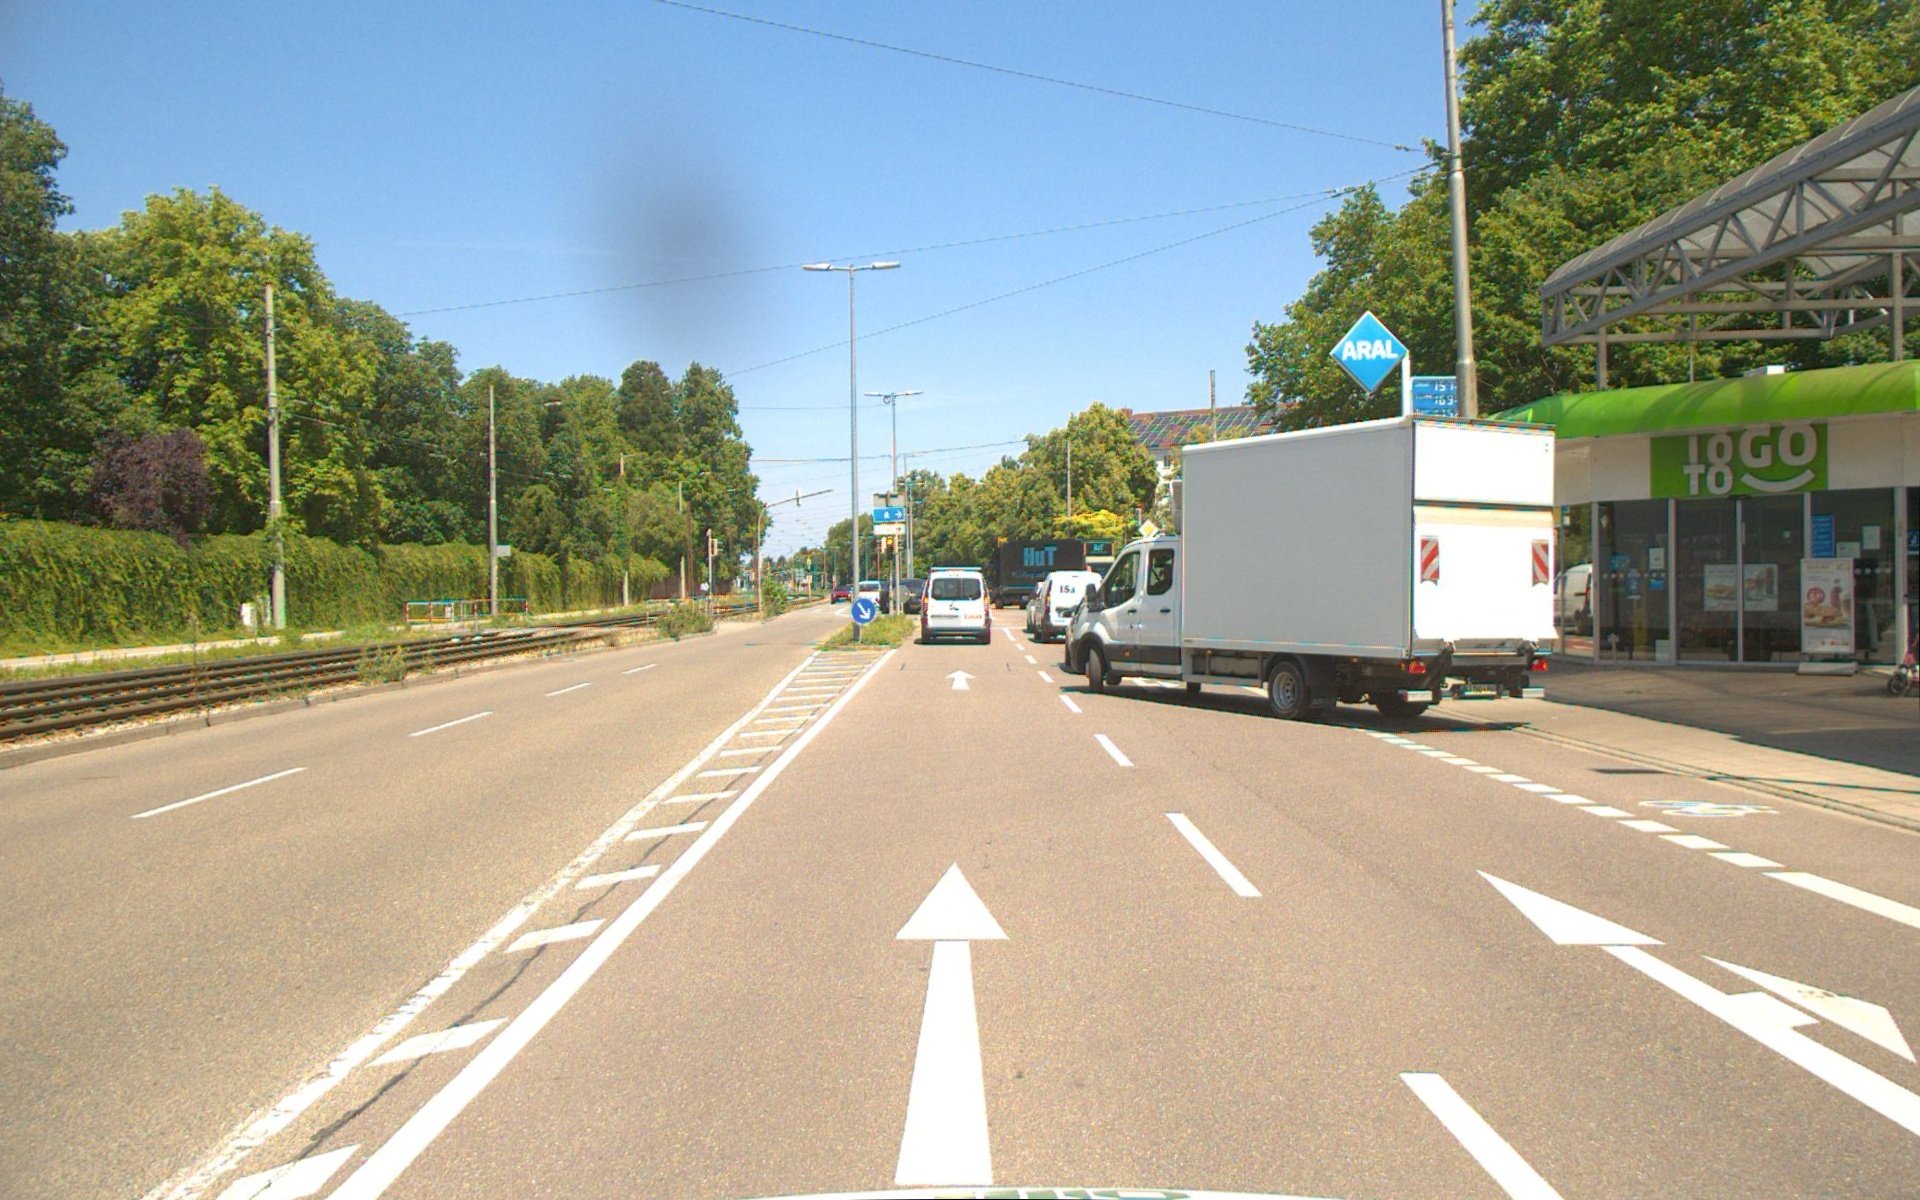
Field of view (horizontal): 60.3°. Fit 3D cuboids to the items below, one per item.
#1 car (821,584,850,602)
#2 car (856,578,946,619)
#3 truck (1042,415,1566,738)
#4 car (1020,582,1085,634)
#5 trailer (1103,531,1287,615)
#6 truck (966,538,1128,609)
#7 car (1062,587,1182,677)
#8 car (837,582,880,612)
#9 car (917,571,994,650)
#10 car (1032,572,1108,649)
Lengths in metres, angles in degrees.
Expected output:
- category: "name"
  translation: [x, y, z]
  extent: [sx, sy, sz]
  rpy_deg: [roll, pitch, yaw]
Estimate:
- category: "car"
  translation: [-10.187, -0.607, 135.767]
  extent: [1.943, 1.382, 4.539]
  rpy_deg: [-1, 1, 1]
- category: "car"
  translation: [-2.868, -0.072, 79.212]
  extent: [1.981, 1.861, 4.474]
  rpy_deg: [-1, 1, -40]
- category: "truck"
  translation: [4.056, -0.277, 21.699]
  extent: [2.391, 3.450, 7.763]
  rpy_deg: [-1, 0, -27]
- category: "car"
  translation: [2.800, 0.218, 50.832]
  extent: [1.720, 1.512, 4.000]
  rpy_deg: [-1, 1, -1]
- category: "trailer"
  translation: [12.169, -1.361, 85.894]
  extent: [8.773, 4.121, 3.536]
  rpy_deg: [-1, 0, 27]
- category: "truck"
  translation: [4.715, -1.423, 90.986]
  extent: [8.652, 3.696, 3.566]
  rpy_deg: [0, 1, 42]
- category: "car"
  translation: [2.848, 0.515, 29.871]
  extent: [1.758, 1.475, 4.418]
  rpy_deg: [-1, 1, 1]
- category: "car"
  translation: [-5.729, -0.187, 93.024]
  extent: [1.957, 1.645, 4.446]
  rpy_deg: [-1, 1, -9]
- category: "car"
  translation: [-0.145, 0.232, 41.897]
  extent: [1.829, 1.868, 3.848]
  rpy_deg: [-1, 1, -1]
- category: "car"
  translation: [2.789, 0.235, 42.718]
  extent: [1.675, 1.862, 4.013]
  rpy_deg: [-1, 0, 0]
